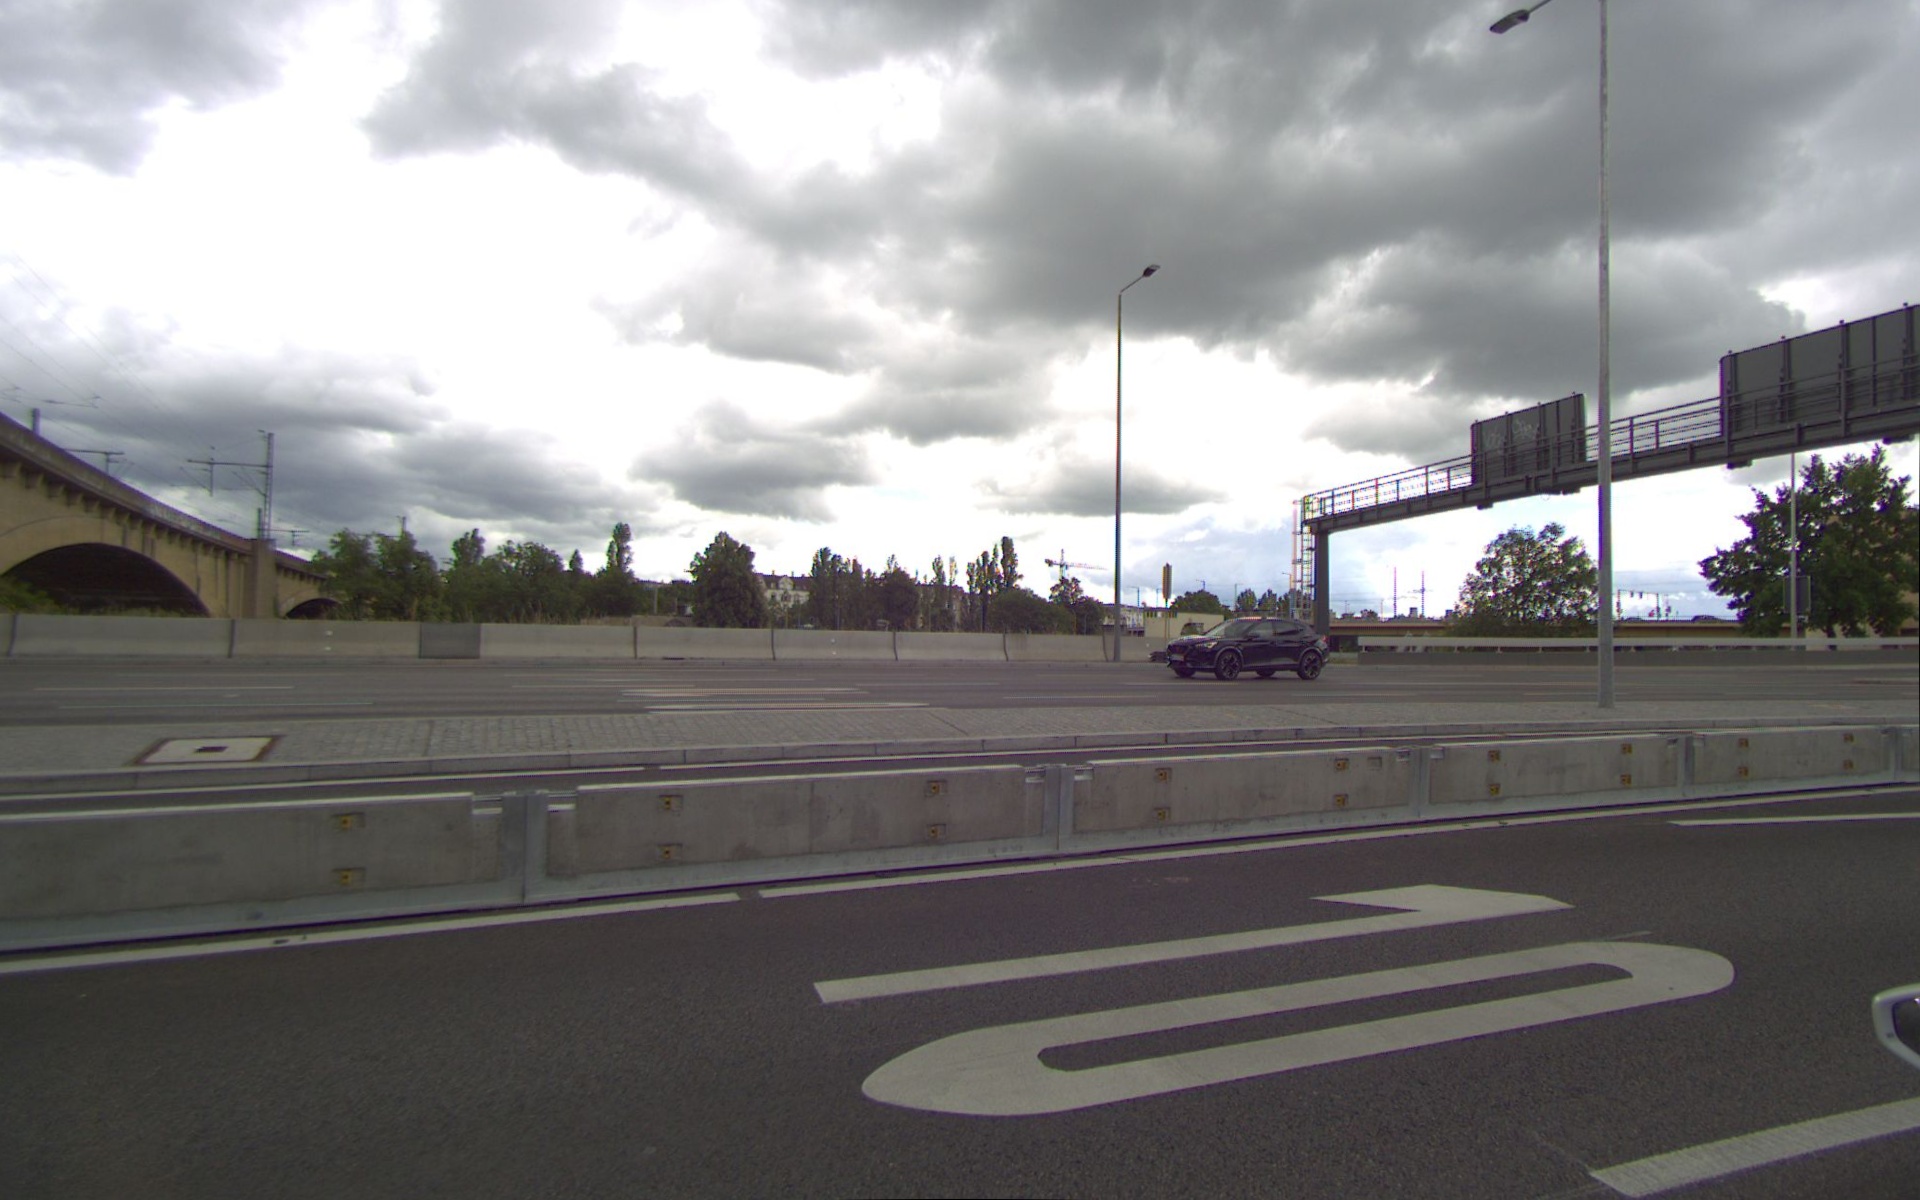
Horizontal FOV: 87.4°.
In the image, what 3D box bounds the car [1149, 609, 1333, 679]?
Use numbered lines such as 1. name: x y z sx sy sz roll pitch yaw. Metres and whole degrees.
1. car: 6.993 1.106 25.015 4.078 1.606 1.989 2 -2 -23
